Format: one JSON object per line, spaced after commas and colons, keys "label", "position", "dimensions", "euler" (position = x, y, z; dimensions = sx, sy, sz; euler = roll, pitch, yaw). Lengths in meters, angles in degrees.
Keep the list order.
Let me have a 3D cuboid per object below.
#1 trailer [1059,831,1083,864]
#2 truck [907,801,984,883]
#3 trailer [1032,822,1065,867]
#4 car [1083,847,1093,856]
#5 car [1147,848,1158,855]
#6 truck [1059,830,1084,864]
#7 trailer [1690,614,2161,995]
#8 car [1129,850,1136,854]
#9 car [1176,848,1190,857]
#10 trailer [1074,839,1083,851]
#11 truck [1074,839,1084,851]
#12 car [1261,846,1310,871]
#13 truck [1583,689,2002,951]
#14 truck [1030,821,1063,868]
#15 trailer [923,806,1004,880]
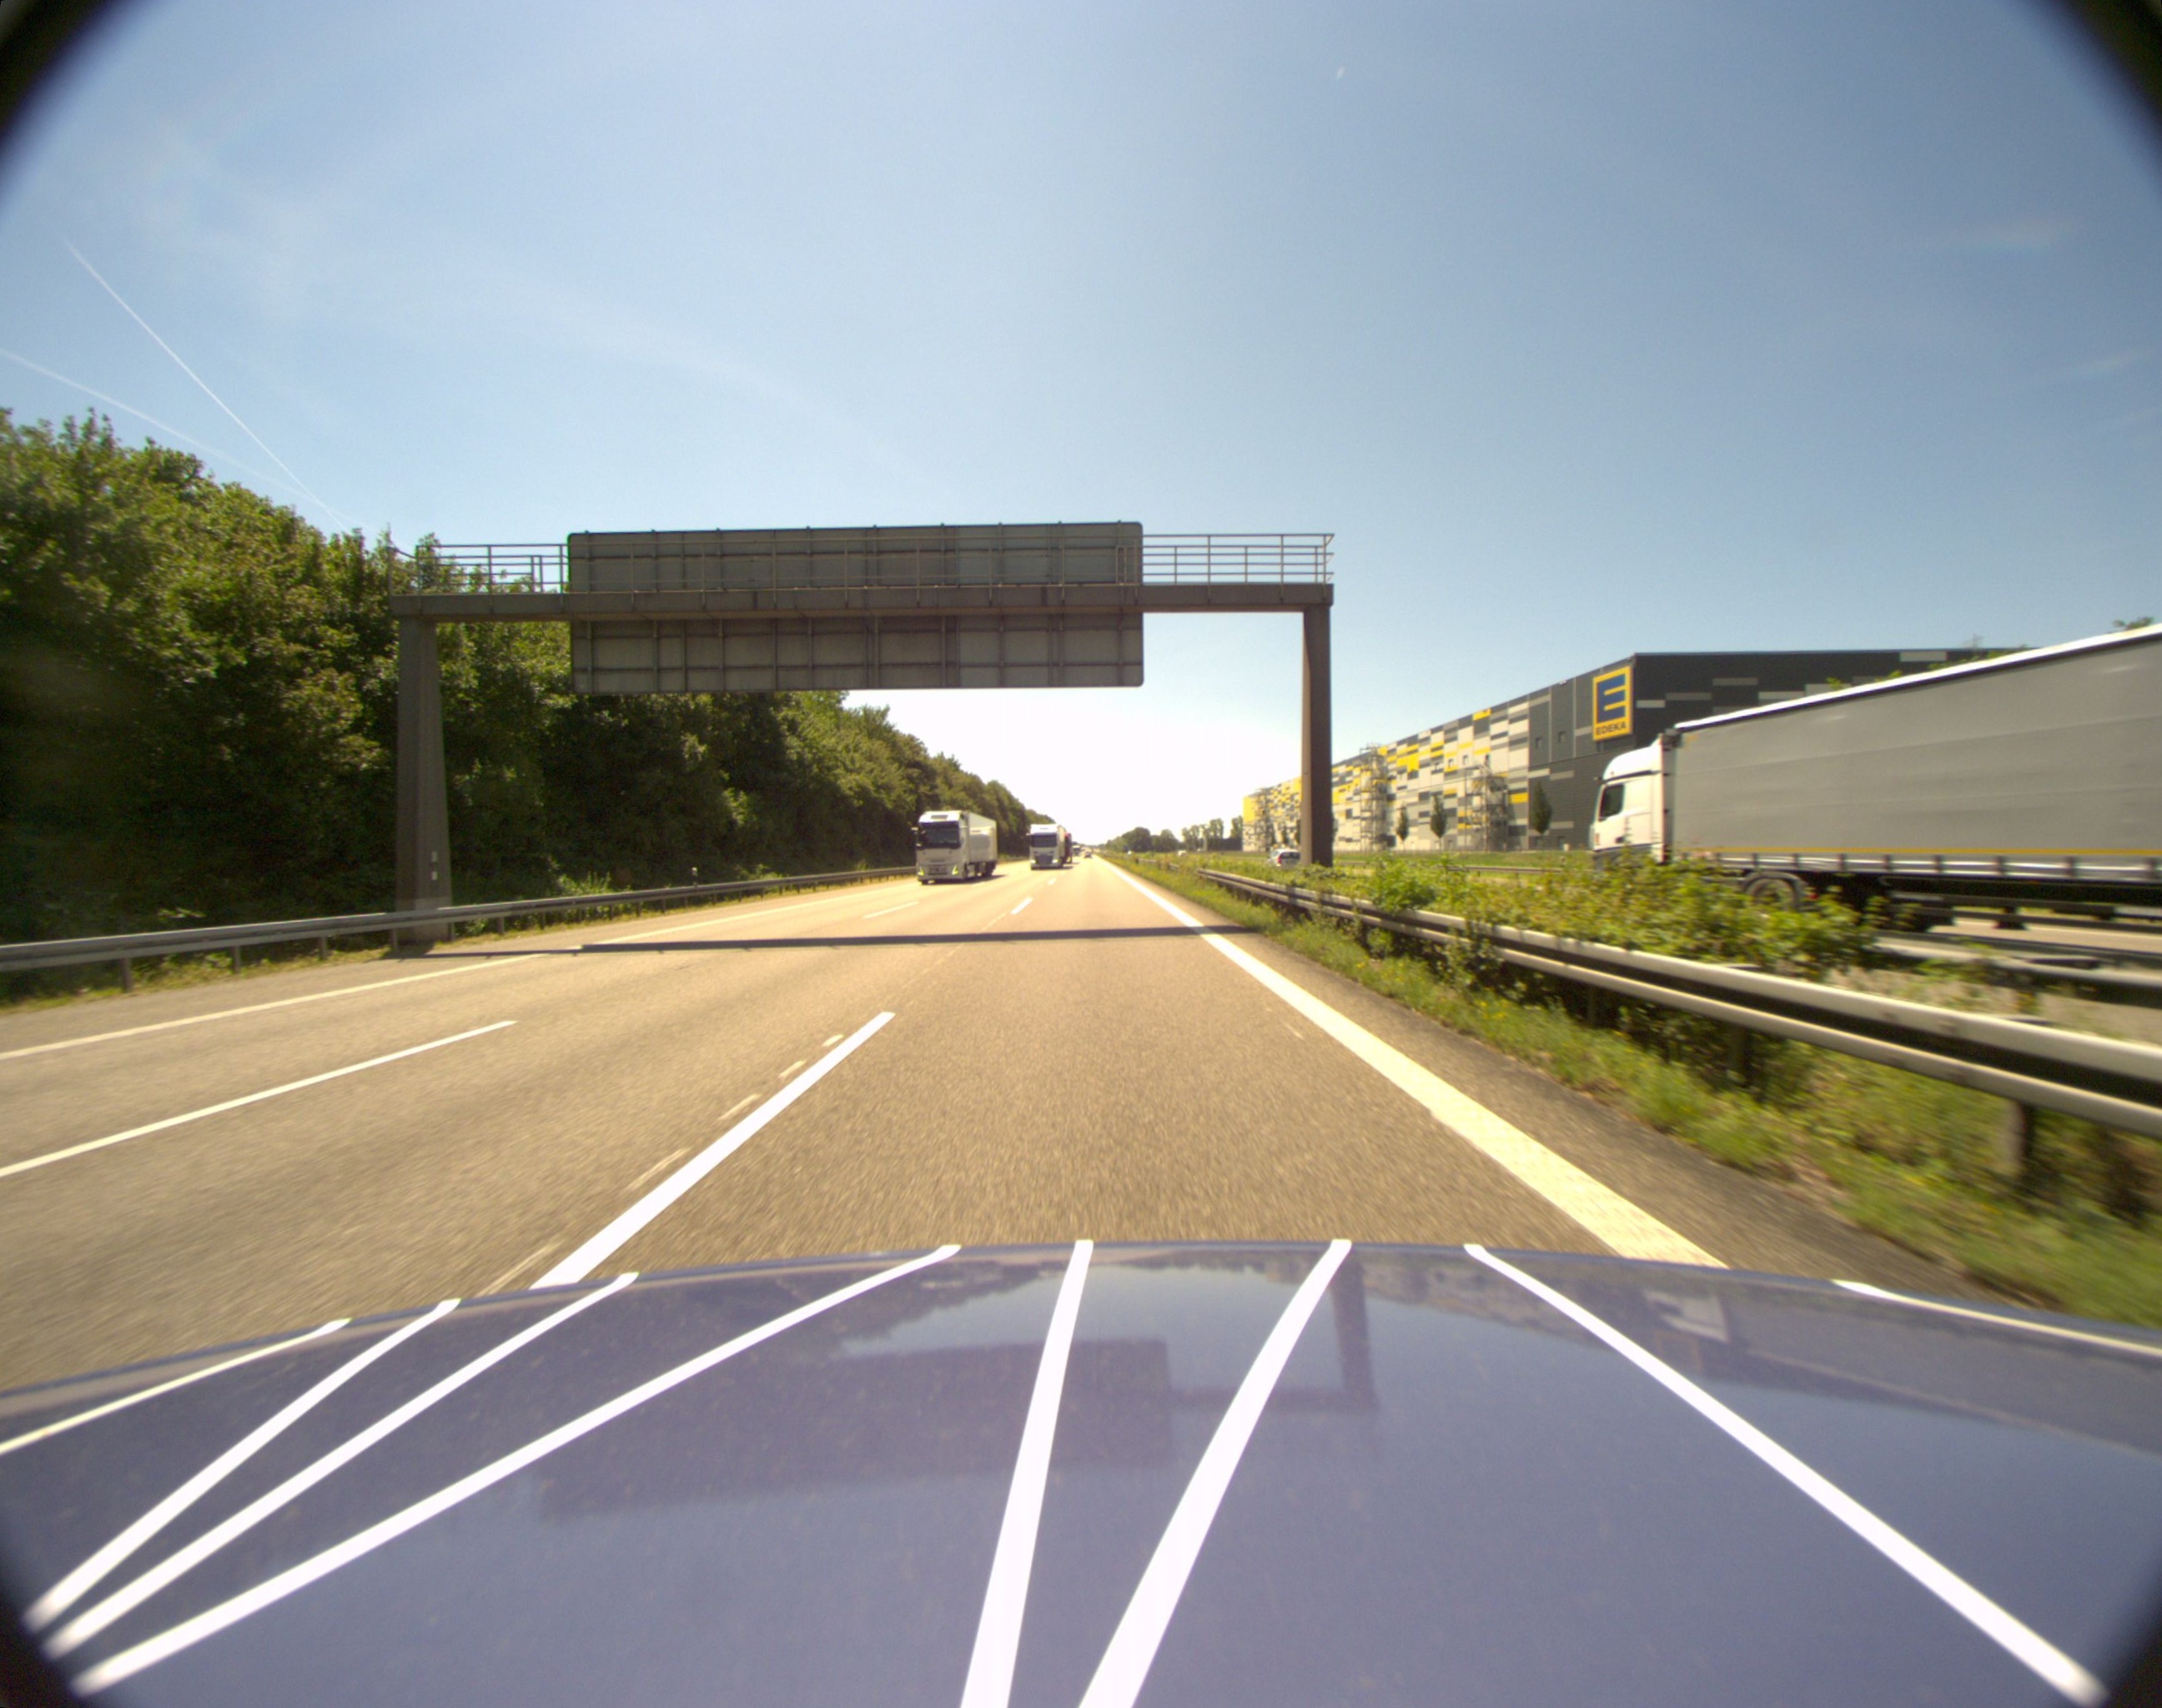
{"label": "trailer", "position": [-1.335, -0.845, 101.684], "dimensions": [2.885, 4.046, 13.832], "euler": [-2, 0, -1]}
{"label": "truck", "position": [-7.508, -0.642, 42.958], "dimensions": [3.055, 4.190, 6.048], "euler": [-2, 1, 0]}
{"label": "trailer", "position": [-3.091, -0.923, 76.236], "dimensions": [2.684, 4.046, 13.833], "euler": [-2, 0, 0]}
{"label": "car", "position": [1.625, -0.638, 166.810], "dimensions": [2.073, 1.959, 5.109], "euler": [0, 0, -1]}
{"label": "car", "position": [16.199, -0.664, 172.457], "dimensions": [1.904, 1.523, 5.031], "euler": [2, 1, 0]}
{"label": "truck", "position": [-1.192, -0.819, 94.551], "dimensions": [2.870, 4.046, 5.770], "euler": [-2, 1, -1]}
{"label": "trailer", "position": [13.335, -0.529, 7.997], "dimensions": [2.836, 4.200, 13.835], "euler": [1, 0, 1]}
{"label": "car", "position": [17.174, -0.691, 253.617], "dimensions": [1.812, 1.475, 4.416], "euler": [1, 1, 1]}
{"label": "car", "position": [18.676, -0.210, 139.323], "dimensions": [1.904, 1.584, 4.742], "euler": [0, 1, 0]}
{"label": "trailer", "position": [-0.759, -3.009, 258.916], "dimensions": [3.005, 4.046, 13.833], "euler": [-2, 0, 0]}
{"label": "truck", "position": [-0.738, -3.006, 251.354], "dimensions": [2.999, 4.046, 5.770], "euler": [-2, 1, 0]}
{"label": "car", "position": [12.891, 0.255, 48.211], "dimensions": [1.904, 1.544, 4.240], "euler": [0, 0, -1]}
{"label": "truck", "position": [13.453, -0.565, 15.243], "dimensions": [2.835, 4.187, 5.888], "euler": [1, 1, 1]}
{"label": "truck", "position": [-3.069, -0.860, 69.272], "dimensions": [2.684, 4.046, 6.048], "euler": [-2, 1, 0]}
{"label": "trailer", "position": [-7.489, -0.669, 50.702], "dimensions": [3.047, 4.200, 13.834], "euler": [-2, 0, 0]}
